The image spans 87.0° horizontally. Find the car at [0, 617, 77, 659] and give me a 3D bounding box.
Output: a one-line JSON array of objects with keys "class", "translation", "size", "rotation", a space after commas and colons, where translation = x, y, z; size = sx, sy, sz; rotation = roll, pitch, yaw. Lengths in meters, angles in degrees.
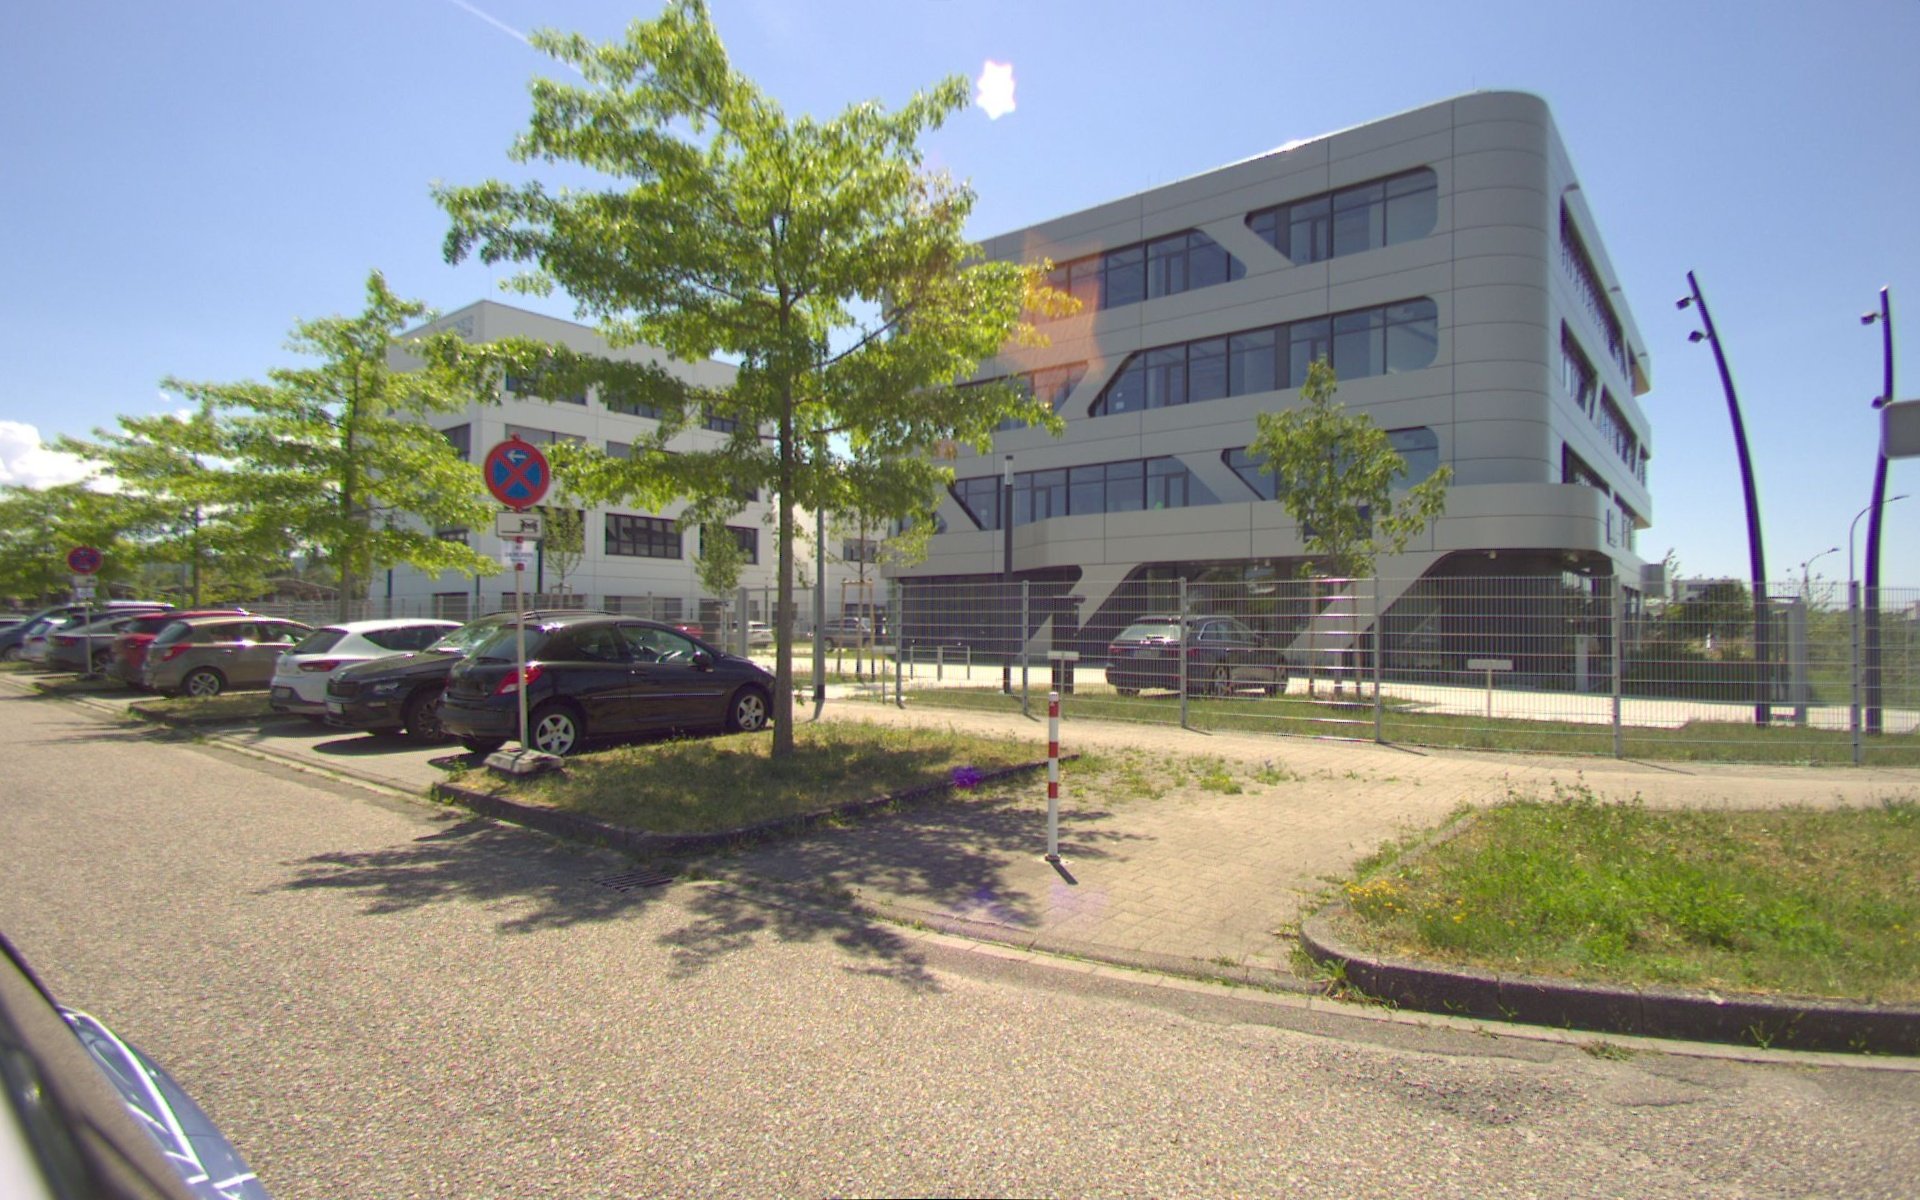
[{"class": "car", "translation": [-39.139, 1.576, 41.601], "size": [1.727, 1.647, 4.074], "rotation": [-2, -1, 41]}]

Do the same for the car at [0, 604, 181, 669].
[{"class": "car", "translation": [-28.159, 1.124, 32.262], "size": [1.996, 1.906, 5.017], "rotation": [-2, -1, 41]}]

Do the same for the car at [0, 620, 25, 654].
[{"class": "car", "translation": [-46.353, 1.768, 47.195], "size": [1.725, 1.604, 3.803], "rotation": [-2, -1, 37]}]

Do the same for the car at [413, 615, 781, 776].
[{"class": "car", "translation": [-3.979, 0.930, 11.526], "size": [1.724, 1.446, 3.590], "rotation": [-1, 0, 39]}]

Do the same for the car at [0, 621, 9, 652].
[{"class": "car", "translation": [-51.186, 1.923, 51.573], "size": [1.728, 1.604, 3.863], "rotation": [-2, -1, 43]}]

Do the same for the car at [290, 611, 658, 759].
[{"class": "car", "translation": [-6.087, 0.942, 13.037], "size": [1.783, 1.532, 3.889], "rotation": [-1, 0, 39]}]

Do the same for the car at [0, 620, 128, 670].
[{"class": "car", "translation": [-30.571, 1.477, 33.889], "size": [1.762, 1.495, 3.929], "rotation": [-2, 0, 40]}]

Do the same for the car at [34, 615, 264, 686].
[{"class": "car", "translation": [-19.768, 1.170, 24.819], "size": [1.711, 1.491, 4.151], "rotation": [-1, 0, 40]}]

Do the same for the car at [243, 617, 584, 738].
[{"class": "car", "translation": [-7.897, 1.020, 14.966], "size": [1.870, 1.435, 4.039], "rotation": [-1, 0, 36]}]

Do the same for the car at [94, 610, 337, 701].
[{"class": "car", "translation": [-15.160, 1.052, 20.736], "size": [1.815, 1.633, 3.699], "rotation": [-1, -1, 40]}]

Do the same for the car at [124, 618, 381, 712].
[{"class": "car", "translation": [-13.211, 1.133, 19.080], "size": [1.728, 1.520, 3.624], "rotation": [-1, -1, 36]}]

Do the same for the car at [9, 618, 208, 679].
[{"class": "car", "translation": [-23.607, 1.292, 28.189], "size": [1.601, 1.472, 4.000], "rotation": [-1, 0, 37]}]

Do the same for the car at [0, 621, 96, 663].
[{"class": "car", "translation": [-35.752, 1.593, 38.076], "size": [1.855, 1.458, 4.667], "rotation": [-2, -1, 38]}]

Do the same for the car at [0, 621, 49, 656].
[{"class": "car", "translation": [-44.029, 1.812, 45.670], "size": [1.806, 1.524, 4.129], "rotation": [-3, -1, 41]}]

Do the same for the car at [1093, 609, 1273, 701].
[{"class": "car", "translation": [3.913, 0.939, 17.437], "size": [1.676, 1.401, 3.445], "rotation": [-2, -4, 39]}]

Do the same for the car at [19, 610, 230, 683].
[{"class": "car", "translation": [-21.891, 1.151, 26.648], "size": [1.773, 1.691, 3.953], "rotation": [-1, 0, 35]}]
